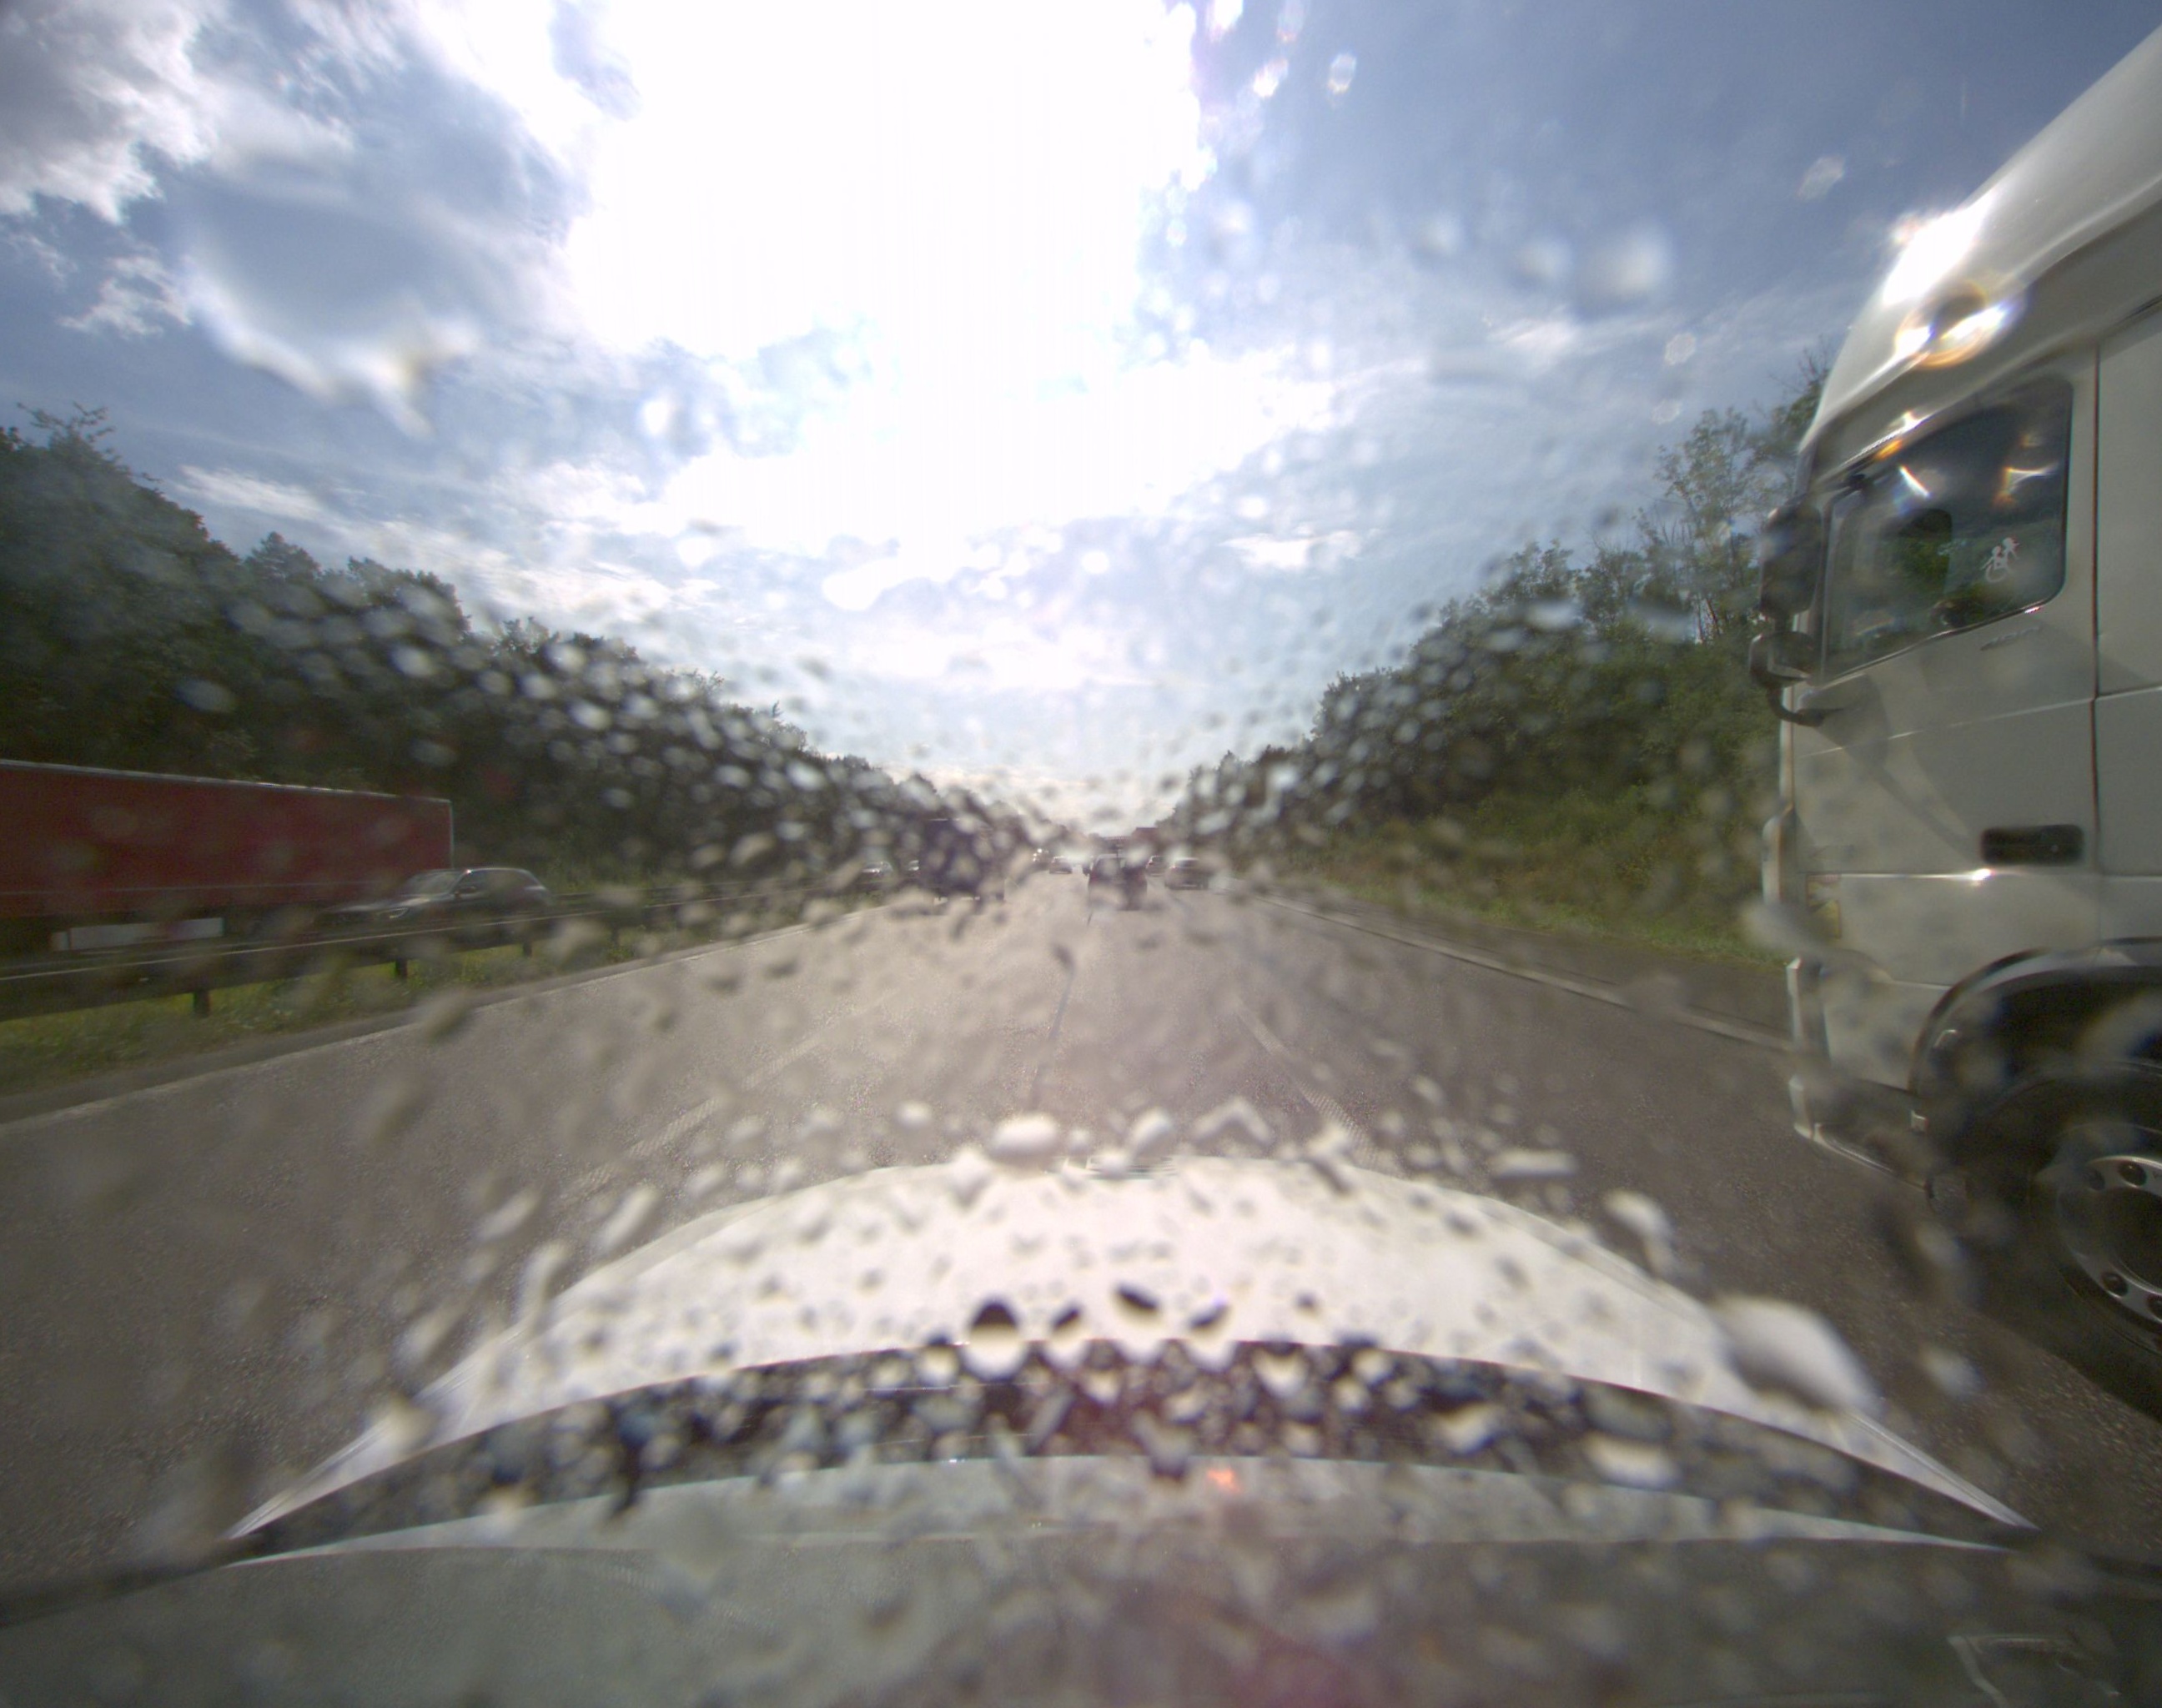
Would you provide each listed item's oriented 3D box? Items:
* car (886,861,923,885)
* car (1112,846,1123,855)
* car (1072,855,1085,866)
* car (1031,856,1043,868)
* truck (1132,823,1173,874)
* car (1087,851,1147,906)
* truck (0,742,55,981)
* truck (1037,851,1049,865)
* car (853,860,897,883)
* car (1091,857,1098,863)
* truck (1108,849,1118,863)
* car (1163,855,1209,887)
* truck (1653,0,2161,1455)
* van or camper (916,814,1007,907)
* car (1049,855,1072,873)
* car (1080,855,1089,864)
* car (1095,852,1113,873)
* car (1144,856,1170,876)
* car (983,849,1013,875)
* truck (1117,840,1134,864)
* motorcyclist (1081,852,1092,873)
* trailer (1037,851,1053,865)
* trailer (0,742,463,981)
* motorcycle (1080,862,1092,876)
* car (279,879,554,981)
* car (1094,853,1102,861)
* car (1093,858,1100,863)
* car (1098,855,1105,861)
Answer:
[{"bbox_3d":[-12.885,1.345,59.723,1.725,1.663,4.237,0,0,1],"label":"car"},{"bbox_3d":[5.474,-0.489,121.031,1.547,1.383,3.210,0,0,1],"label":"car"},{"bbox_3d":[-0.379,0.916,115.408,1.745,1.457,3.390,0,0,1],"label":"car"},{"bbox_3d":[-10.353,1.893,193.405,2.254,2.870,6.933,0,0,1],"label":"car"},{"bbox_3d":[7.129,-0.458,83.800,3.634,4.720,16.792,0,0,3],"label":"truck"},{"bbox_3d":[1.086,0.710,25.119,1.711,1.568,3.485,0,0,1],"label":"car"},{"bbox_3d":[-21.270,0.119,12.237,2.852,4.373,6.870,0,0,1],"label":"truck"},{"bbox_3d":[-11.133,1.161,238.463,2.978,3.831,6.870,0,0,3],"label":"truck"},{"bbox_3d":[-15.674,1.309,62.206,2.009,1.663,4.699,0,0,1],"label":"car"},{"bbox_3d":[2.852,1.276,170.884,1.479,1.390,3.199,0,0,1],"label":"car"},{"bbox_3d":[6.849,0.493,175.894,2.184,2.875,4.851,0,0,1],"label":"truck"},{"bbox_3d":[4.854,0.768,38.061,1.686,1.425,4.221,0,0,1],"label":"car"},{"bbox_3d":[3.888,-0.537,0.155,2.597,3.996,7.293,0,0,2],"label":"truck"},{"bbox_3d":[-3.694,0.203,26.133,1.986,2.669,5.386,0,0,1],"label":"van or camper"},{"bbox_3d":[-1.770,0.841,71.772,1.848,1.551,3.485,0,0,1],"label":"car"},{"bbox_3d":[0.667,0.947,138.566,1.455,1.393,3.312,0,0,1],"label":"car"},{"bbox_3d":[2.043,0.751,71.364,1.526,1.746,3.485,0,0,1],"label":"car"},{"bbox_3d":[5.618,0.849,60.917,1.674,1.442,3.906,0,0,1],"label":"car"},{"bbox_3d":[-7.969,0.776,78.799,2.175,2.452,5.749,0,0,1],"label":"car"},{"bbox_3d":[8.756,-0.294,159.629,3.242,4.479,12.431,0,0,3],"label":"truck"},{"bbox_3d":[0.406,0.675,62.848,0.799,1.633,1.013,0,-1,1],"label":"motorcyclist"},{"bbox_3d":[-10.691,1.215,246.680,2.977,3.831,17.967,0,0,3],"label":"trailer"},{"bbox_3d":[-21.103,0.161,18.656,2.852,4.373,14.096,0,0,1],"label":"trailer"},{"bbox_3d":[0.394,1.159,62.888,0.887,1.000,2.897,0,0,1],"label":"motorcycle"},{"bbox_3d":[-13.067,1.396,16.476,1.831,1.663,4.442,0,0,1],"label":"car"},{"bbox_3d":[4.449,0.846,215.548,1.986,2.013,4.001,-2,0,2],"label":"car"},{"bbox_3d":[3.661,1.474,193.753,1.544,1.267,3.485,0,0,1],"label":"car"},{"bbox_3d":[6.026,1.297,237.849,1.986,1.701,4.001,-2,0,2],"label":"car"}]
